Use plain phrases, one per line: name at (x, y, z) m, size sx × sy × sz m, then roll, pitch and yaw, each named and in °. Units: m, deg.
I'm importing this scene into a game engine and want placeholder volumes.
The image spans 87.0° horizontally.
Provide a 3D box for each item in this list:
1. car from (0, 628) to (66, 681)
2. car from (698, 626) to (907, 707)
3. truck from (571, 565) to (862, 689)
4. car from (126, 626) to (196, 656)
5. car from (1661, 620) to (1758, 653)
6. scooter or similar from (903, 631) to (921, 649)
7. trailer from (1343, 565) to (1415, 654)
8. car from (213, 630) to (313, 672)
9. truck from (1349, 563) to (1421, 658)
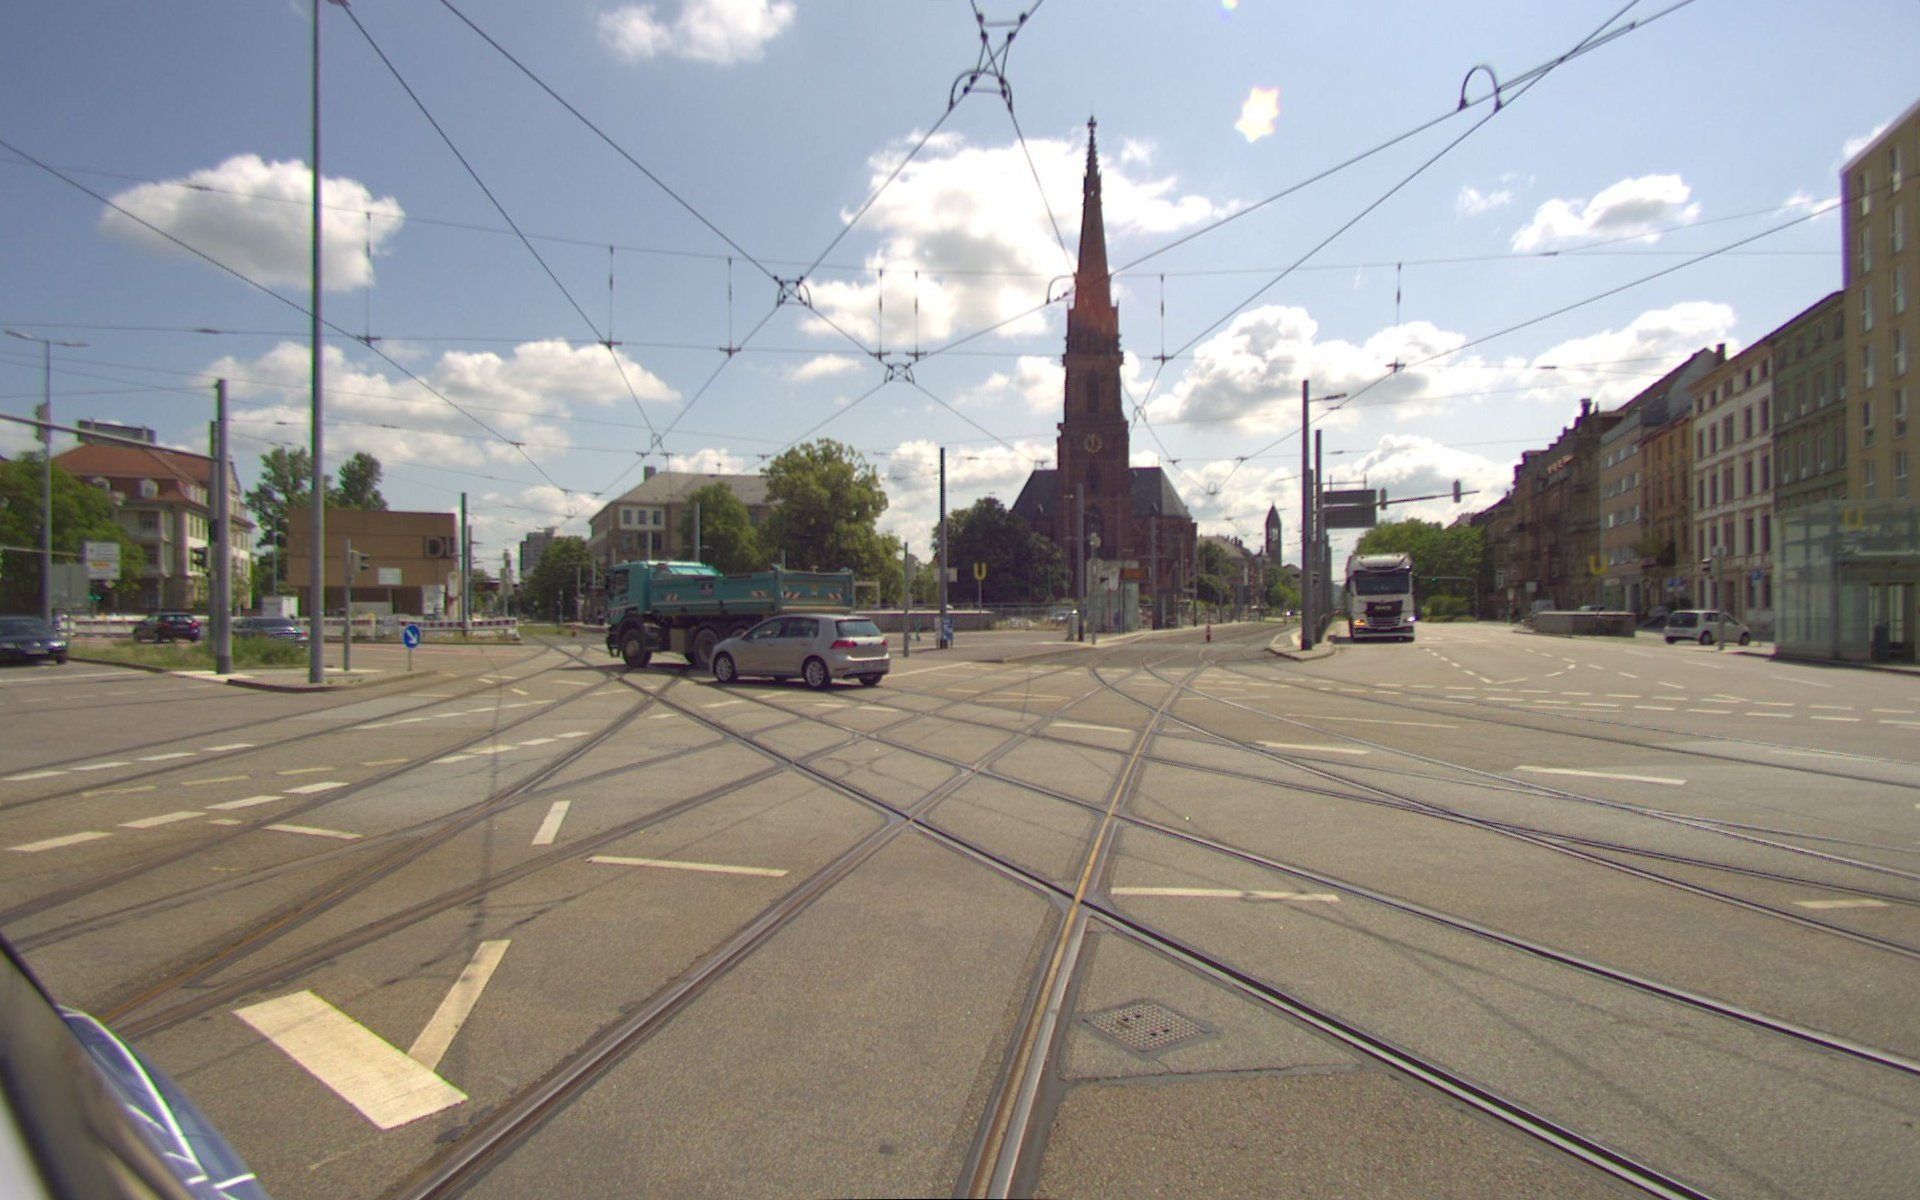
car at (-28.734, 1.619, 30.607) m, size 4.514 × 1.445 × 1.730 m, roll -2°, pitch 0°, yaw 38°
car at (-3.231, 1.272, 20.371) m, size 4.263 × 1.444 × 1.638 m, roll -1°, pitch -1°, yaw 36°
truck at (-6.792, 0.710, 27.232) m, size 8.781 × 2.874 × 2.857 m, roll -1°, pitch -1°, yaw 39°
car at (-41.299, 2.087, 52.305) m, size 4.142 × 1.480 × 1.640 m, roll -1°, pitch -1°, yaw 34°
car at (31.935, 1.526, 43.135) m, size 3.299 × 1.331 × 1.664 m, roll 0°, pitch -1°, yaw -18°
scooter or similar at (-3.018, 2.522, 63.764) m, size 1.111 × 1.098 × 0.243 m, roll 0°, pitch 0°, yaw -15°
trailer at (21.424, 0.338, 52.388) m, size 2.687 × 3.999 × 13.953 m, roll 0°, pitch 1°, yaw 19°
car at (-25.420, 1.820, 36.860) m, size 4.768 × 1.402 × 1.638 m, roll -1°, pitch -1°, yaw 38°
truck at (19.011, 0.419, 45.542) m, size 2.687 × 3.999 × 5.415 m, roll 0°, pitch 1°, yaw 20°
